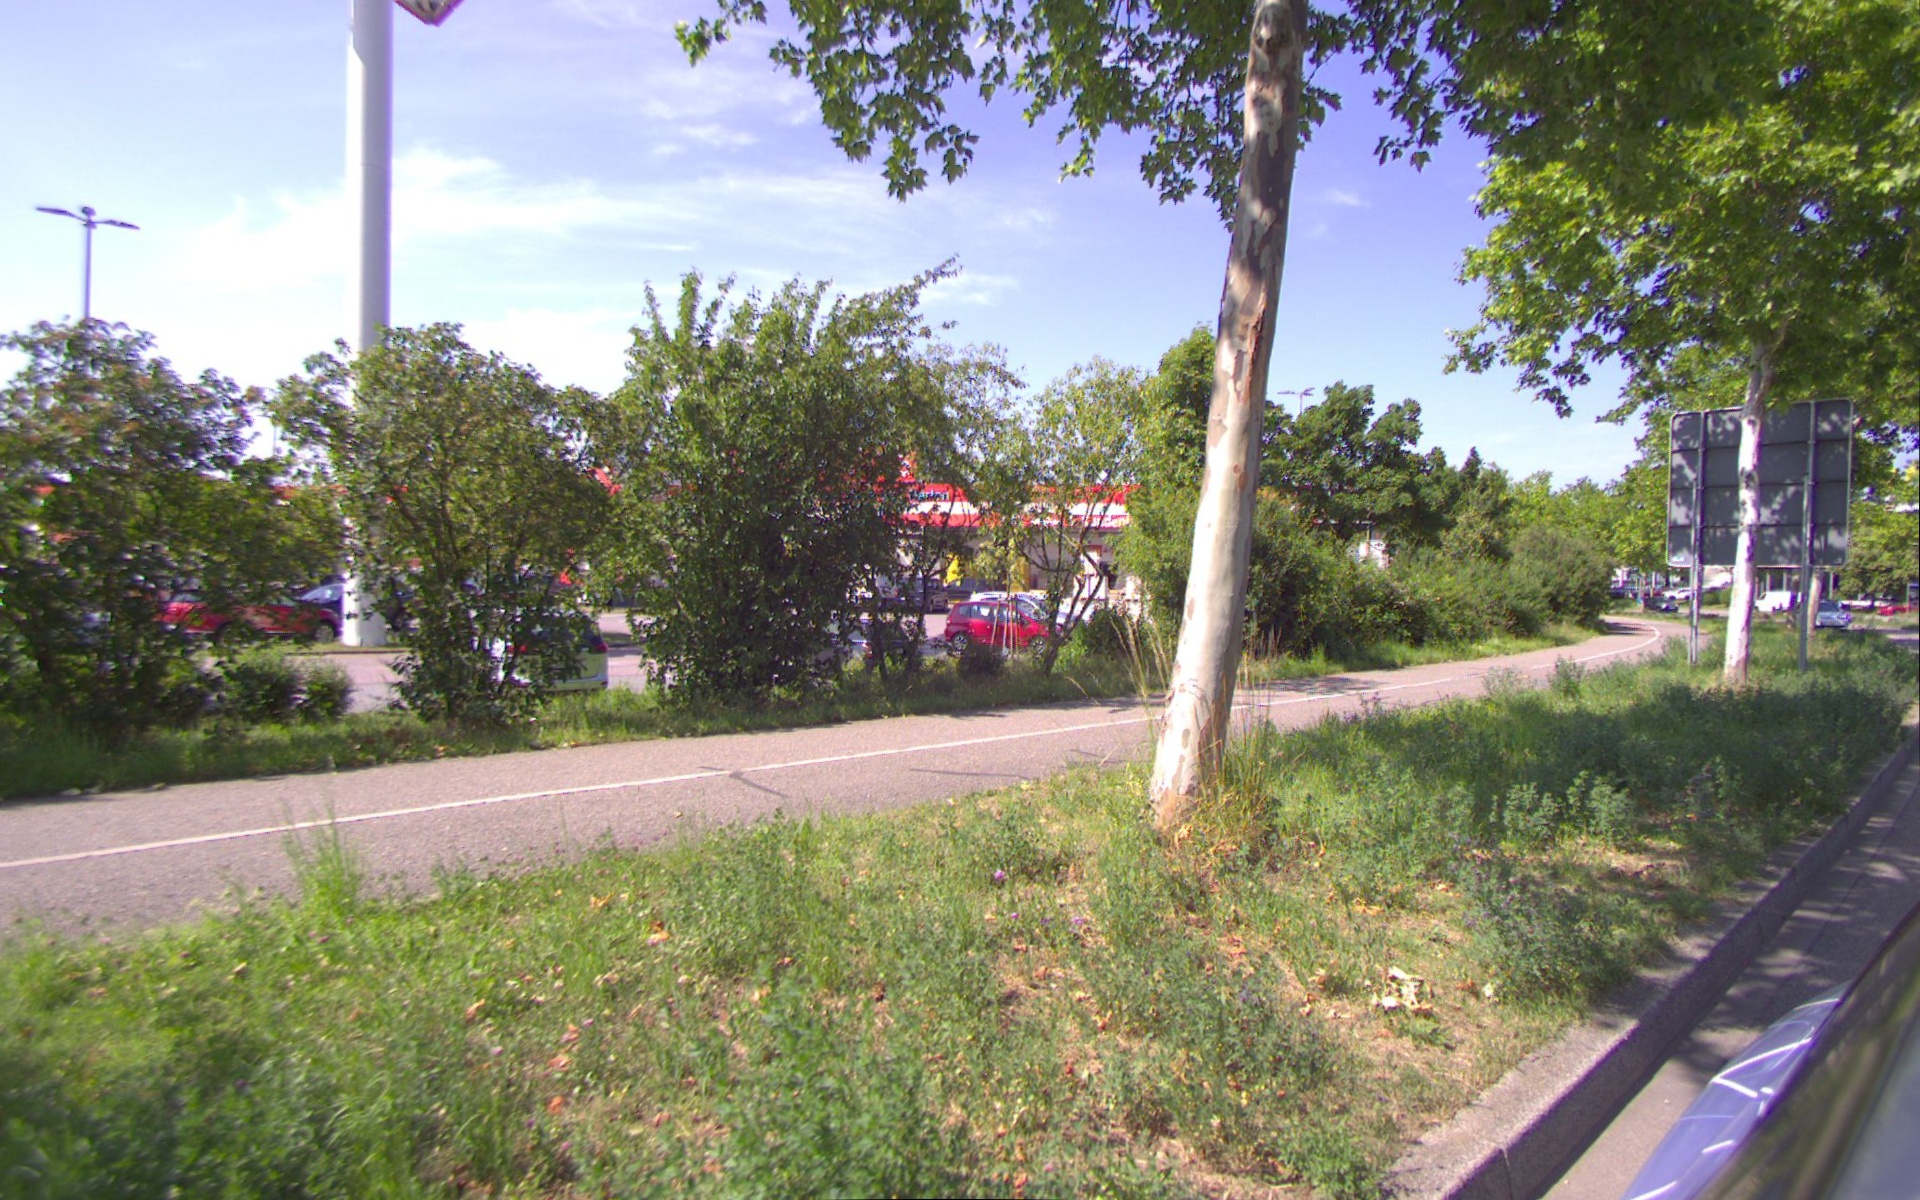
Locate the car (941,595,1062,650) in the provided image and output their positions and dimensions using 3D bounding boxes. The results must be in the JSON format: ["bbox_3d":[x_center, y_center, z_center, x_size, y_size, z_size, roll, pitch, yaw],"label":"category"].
[{"bbox_3d":[1.278,0.672,30.953,3.437,1.545,1.594,-1,2,15],"label":"car"}]

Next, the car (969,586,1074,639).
[{"bbox_3d":[2.031,0.407,33.236,3.190,1.630,1.532,-1,2,15],"label":"car"}]

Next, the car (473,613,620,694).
[{"bbox_3d":[-7.441,0.873,18.021,1.175,1.240,3.966,-1,0,-42],"label":"car"}]

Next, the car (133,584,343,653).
[{"bbox_3d":[-17.901,0.384,25.339,1.970,1.526,3.984,1,2,14],"label":"car"}]

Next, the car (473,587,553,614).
[{"bbox_3d":[-18.948,0.005,43.015,1.496,1.073,3.174,-1,0,13],"label":"car"}]

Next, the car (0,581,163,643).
[{"bbox_3d":[-23.261,0.258,26.309,1.752,1.504,3.777,0,1,11],"label":"car"}]

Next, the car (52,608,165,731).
[{"bbox_3d":[-12.667,0.941,15.025,1.175,1.473,3.158,-1,3,-42],"label":"car"}]

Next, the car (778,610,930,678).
[{"bbox_3d":[-2.485,0.945,23.136,1.711,1.238,3.588,-1,2,-41],"label":"car"}]

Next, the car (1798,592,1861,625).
[{"bbox_3d":[44.141,0.390,51.459,1.811,1.540,4.160,1,1,32],"label":"car"}]

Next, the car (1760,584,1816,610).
[{"bbox_3d":[69.248,-0.278,84.703,1.972,2.039,4.494,0,1,16],"label":"car"}]

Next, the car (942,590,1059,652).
[{"bbox_3d":[1.253,0.592,30.961,3.233,1.682,1.597,3,1,16],"label":"car"}]
